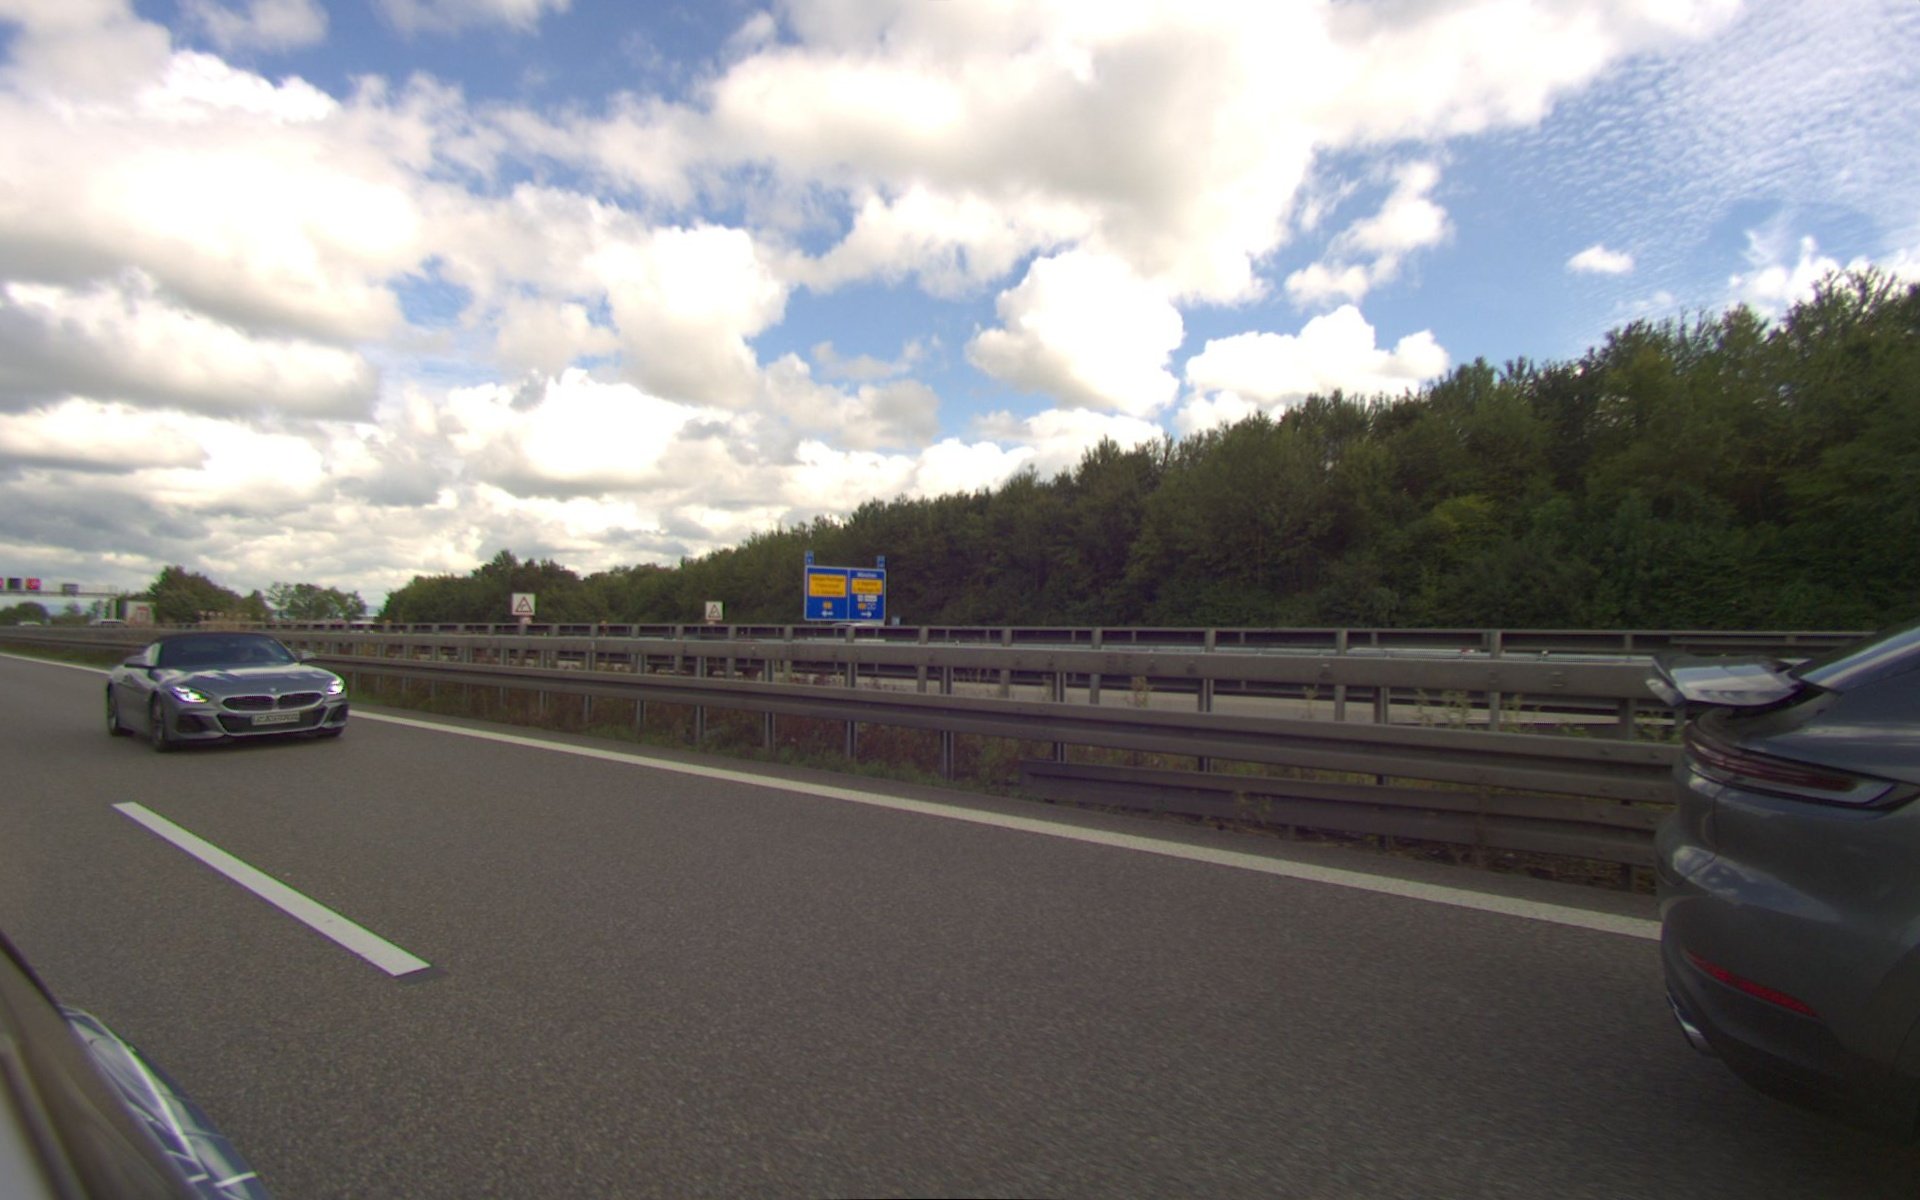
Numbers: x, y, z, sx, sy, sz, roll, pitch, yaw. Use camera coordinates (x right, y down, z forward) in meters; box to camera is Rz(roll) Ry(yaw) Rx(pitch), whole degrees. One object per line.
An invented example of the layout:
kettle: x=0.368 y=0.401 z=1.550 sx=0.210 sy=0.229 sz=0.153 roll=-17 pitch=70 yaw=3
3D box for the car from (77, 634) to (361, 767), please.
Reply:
car: x=-9.518 y=1.119 z=12.825 sx=4.939 sy=1.312 sz=1.854 roll=-1 pitch=-1 yaw=41

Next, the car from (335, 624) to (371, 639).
car: x=-63.818 y=3.292 z=106.404 sx=5.008 sy=1.589 sz=1.752 roll=-2 pitch=-2 yaw=41

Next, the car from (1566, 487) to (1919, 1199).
car: x=4.185 y=0.561 z=1.403 sx=5.497 sy=1.648 sz=1.892 roll=-1 pitch=-1 yaw=41

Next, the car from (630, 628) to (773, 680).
car: x=-7.087 y=1.440 z=27.585 sx=4.245 sy=1.325 sz=1.625 roll=-1 pitch=-4 yaw=41

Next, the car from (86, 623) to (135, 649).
car: x=-52.201 y=2.193 z=62.165 sx=4.170 sy=1.589 sz=1.658 roll=-1 pitch=-2 yaw=41

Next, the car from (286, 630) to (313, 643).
car: x=-87.362 y=4.807 z=133.884 sx=5.007 sy=1.648 sz=1.791 roll=-2 pitch=-2 yaw=43

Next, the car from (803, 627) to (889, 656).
car: x=-5.482 y=1.972 z=48.453 sx=4.245 sy=1.325 sz=1.626 roll=-1 pitch=-2 yaw=41

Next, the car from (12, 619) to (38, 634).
car: x=-104.495 y=2.983 z=113.100 sx=5.007 sy=1.648 sz=1.791 roll=-1 pitch=-1 yaw=43

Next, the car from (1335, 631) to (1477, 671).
car: x=15.431 y=1.735 z=35.134 sx=4.245 sy=1.325 sz=1.626 roll=-1 pitch=-2 yaw=41
